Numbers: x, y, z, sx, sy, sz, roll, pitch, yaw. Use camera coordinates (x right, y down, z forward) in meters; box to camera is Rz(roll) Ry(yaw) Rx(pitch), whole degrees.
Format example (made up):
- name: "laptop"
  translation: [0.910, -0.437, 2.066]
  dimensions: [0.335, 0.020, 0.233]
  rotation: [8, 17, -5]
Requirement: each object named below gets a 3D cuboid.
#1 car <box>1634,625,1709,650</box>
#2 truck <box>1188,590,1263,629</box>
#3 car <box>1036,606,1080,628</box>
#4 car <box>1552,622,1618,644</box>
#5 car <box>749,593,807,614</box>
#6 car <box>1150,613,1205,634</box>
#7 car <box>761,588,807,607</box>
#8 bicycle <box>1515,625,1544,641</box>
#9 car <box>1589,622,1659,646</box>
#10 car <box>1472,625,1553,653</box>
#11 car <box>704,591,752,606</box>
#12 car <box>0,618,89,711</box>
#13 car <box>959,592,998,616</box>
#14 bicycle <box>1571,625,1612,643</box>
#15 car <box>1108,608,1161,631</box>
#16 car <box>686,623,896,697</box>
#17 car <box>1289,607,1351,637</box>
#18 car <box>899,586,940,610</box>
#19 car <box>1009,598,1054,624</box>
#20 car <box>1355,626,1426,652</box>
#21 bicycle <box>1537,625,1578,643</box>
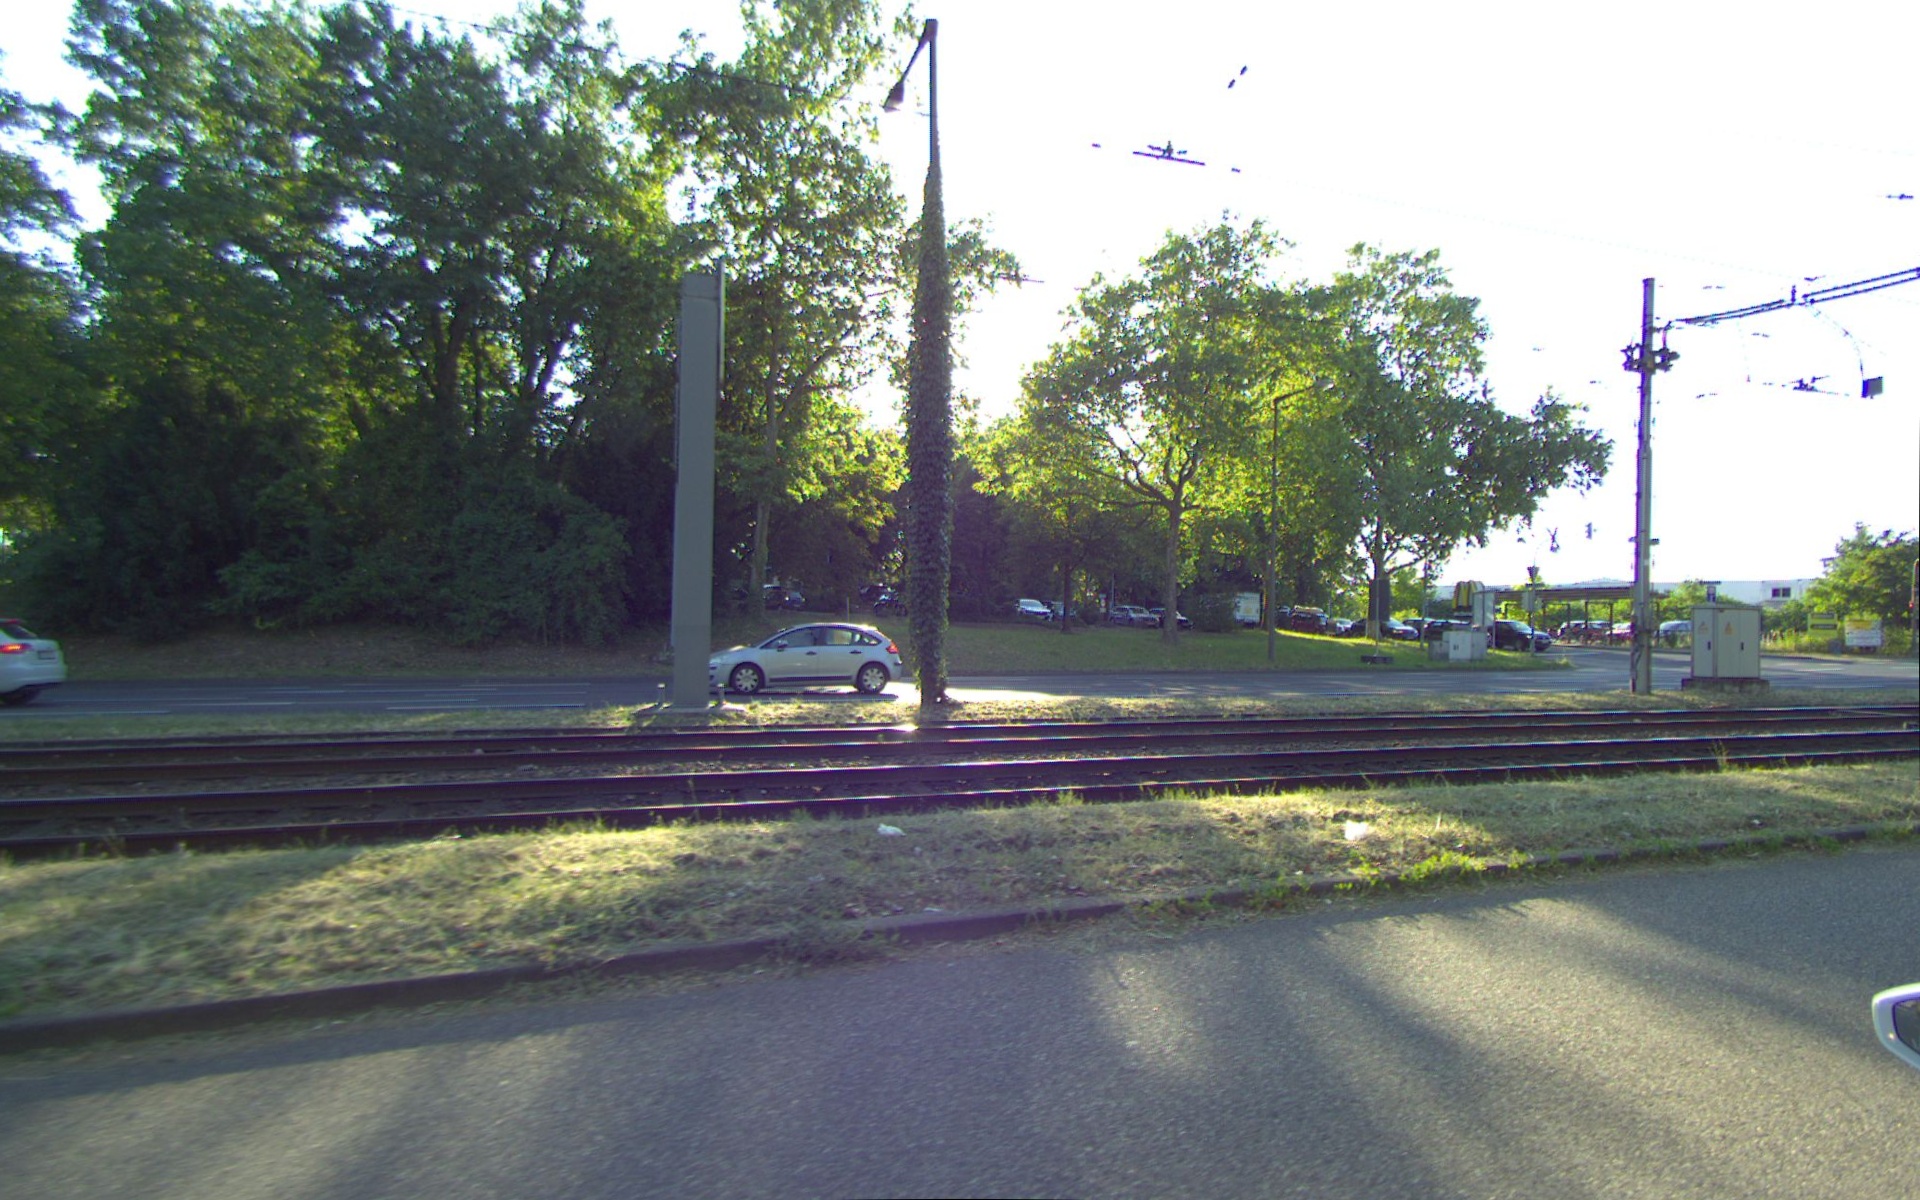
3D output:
- name: "car"
  translation: [45.238, 2.366, 63.907]
  dimensions: [3.935, 1.461, 1.841]
  rotation: [1, 0, -16]
- name: "truck"
  translation: [24.564, 0.856, 93.517]
  dimensions: [2.691, 3.433, 8.285]
  rotation: [1, 0, -17]
- name: "car"
  translation: [7.258, 1.240, 74.719]
  dimensions: [1.892, 1.550, 3.986]
  rotation: [1, 0, -16]
- name: "car"
  translation: [43.895, 2.289, 70.554]
  dimensions: [3.935, 1.461, 1.841]
  rotation: [1, 0, -16]
- name: "car"
  translation: [-11.852, 0.228, 65.398]
  dimensions: [3.456, 1.350, 1.523]
  rotation: [1, 0, 27]
- name: "car"
  translation: [14.258, 1.521, 65.955]
  dimensions: [1.648, 1.277, 3.982]
  rotation: [1, 0, -20]
- name: "car"
  translation: [-14.624, -0.175, 83.527]
  dimensions: [3.479, 1.480, 1.356]
  rotation: [1, 0, -30]
- name: "bicycle"
  translation: [38.065, 2.212, 67.091]
  dimensions: [2.166, 1.079, 0.663]
  rotation: [1, 0, -30]
- name: "car"
  translation: [44.476, 2.271, 67.279]
  dimensions: [3.935, 1.461, 1.841]
  rotation: [1, 0, -16]
- name: "car"
  translation: [30.945, 2.155, 56.433]
  dimensions: [1.753, 1.405, 4.059]
  rotation: [1, 0, -12]
- name: "car"
  translation: [-18.549, -0.103, 80.319]
  dimensions: [3.479, 1.135, 1.356]
  rotation: [1, 0, -30]
- name: "car"
  translation: [-16.762, 0.998, 15.845]
  dimensions: [4.195, 1.434, 1.651]
  rotation: [1, -1, -21]
- name: "car"
  translation: [1.120, 0.248, 61.669]
  dimensions: [1.556, 1.350, 3.512]
  rotation: [1, 0, -13]
- name: "bicycle"
  translation: [39.254, 2.103, 62.460]
  dimensions: [2.149, 1.079, 0.668]
  rotation: [1, 0, -2]
- name: "car"
  translation: [11.235, 1.229, 64.843]
  dimensions: [1.648, 1.390, 3.982]
  rotation: [1, 0, -20]
- name: "car"
  translation: [-3.556, 1.236, 21.141]
  dimensions: [4.186, 1.434, 1.654]
  rotation: [1, -1, -14]
- name: "car"
  translation: [23.938, 1.474, 67.004]
  dimensions: [1.967, 1.884, 3.987]
  rotation: [1, -1, -16]
- name: "car"
  translation: [-2.445, -0.090, 59.847]
  dimensions: [1.500, 1.350, 3.508]
  rotation: [1, 0, -18]
- name: "car"
  translation: [4.391, 0.659, 62.209]
  dimensions: [1.828, 1.550, 3.993]
  rotation: [1, 0, -10]
- name: "car"
  translation: [26.152, 2.343, 61.094]
  dimensions: [1.755, 1.405, 4.053]
  rotation: [1, 0, -17]
- name: "bicycle"
  translation: [38.850, 2.217, 65.330]
  dimensions: [2.148, 1.079, 0.668]
  rotation: [1, 0, 12]
